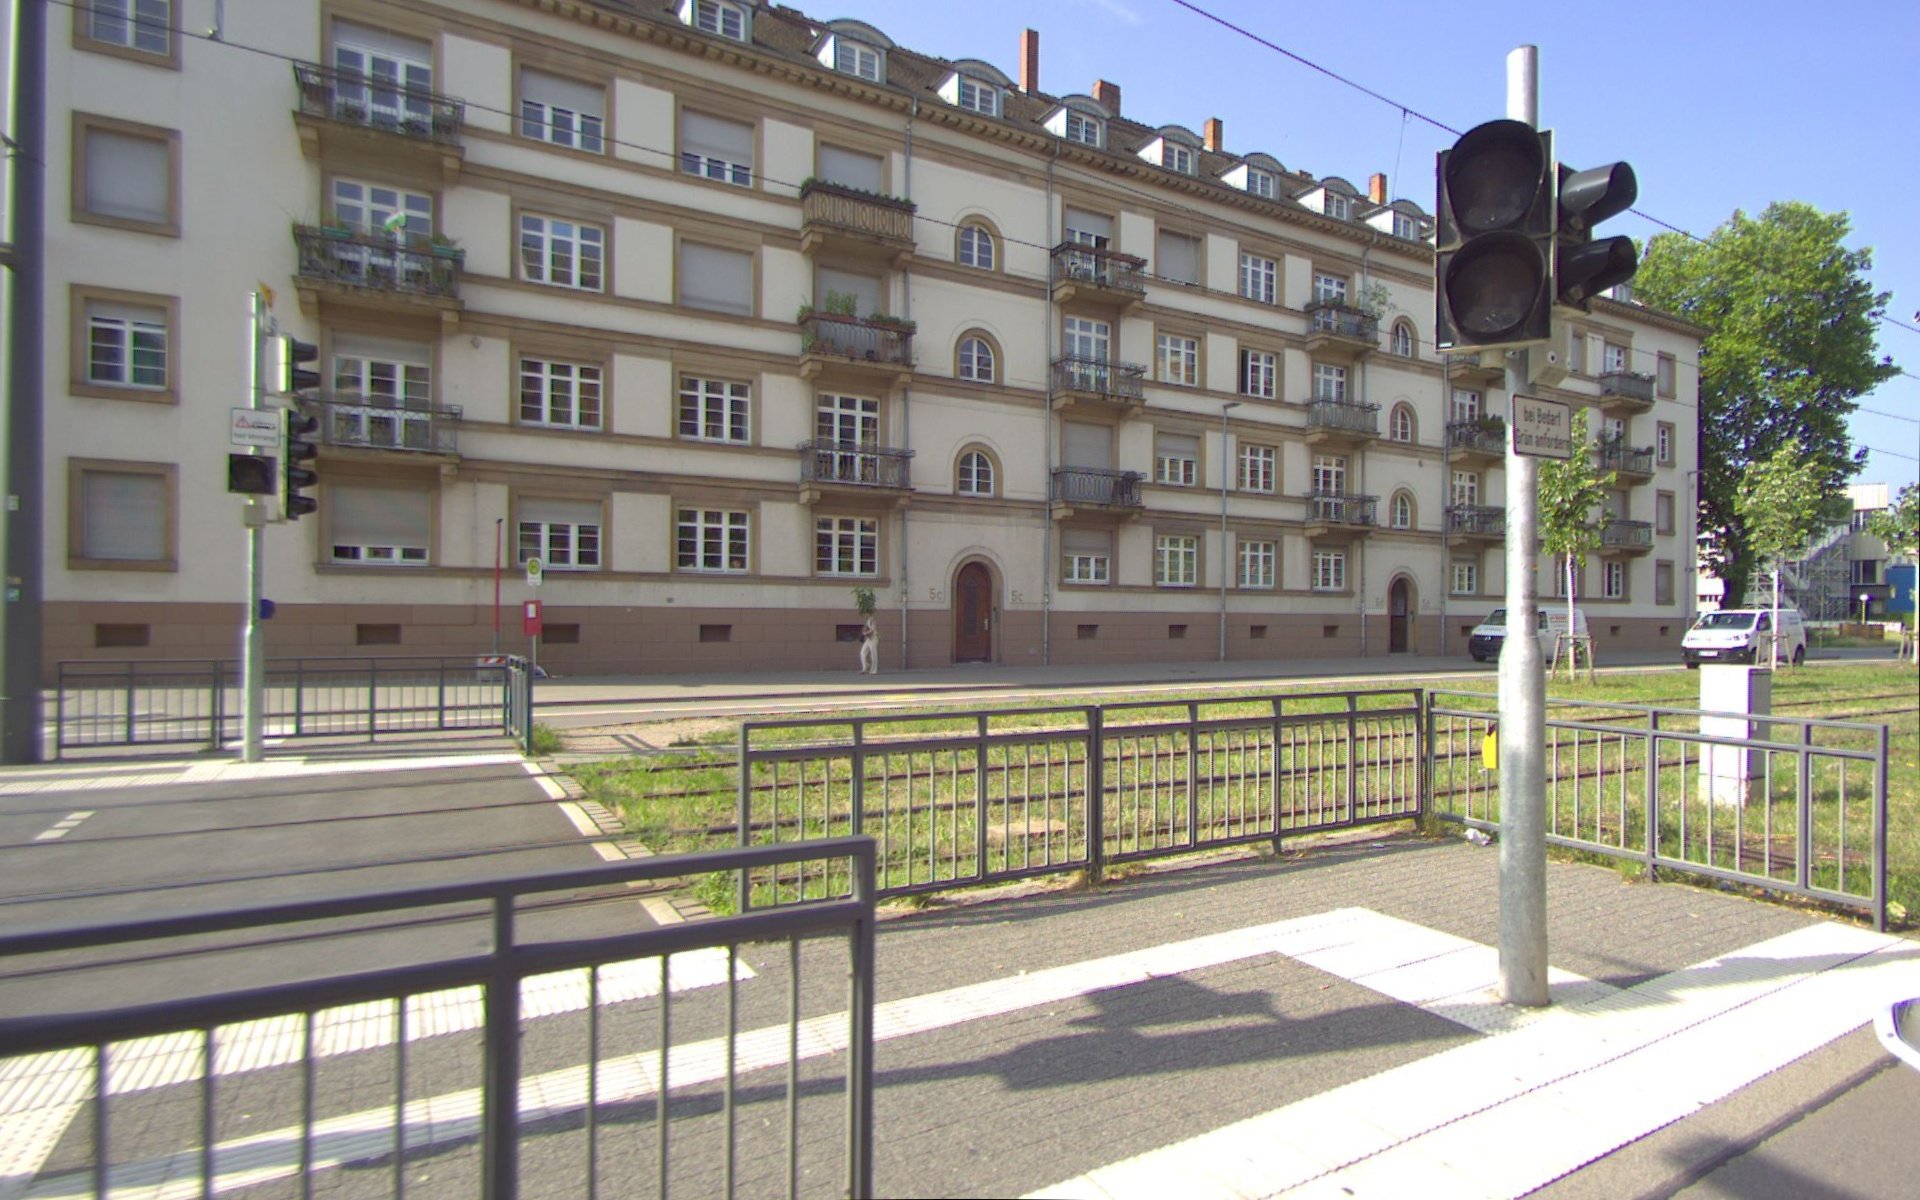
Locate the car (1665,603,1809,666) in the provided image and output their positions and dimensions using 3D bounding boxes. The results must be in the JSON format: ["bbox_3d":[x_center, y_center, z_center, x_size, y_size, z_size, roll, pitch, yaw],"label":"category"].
[{"bbox_3d":[25.445,1.082,32.851,4.985,1.920,1.985,1,-1,-30],"label":"car"}]

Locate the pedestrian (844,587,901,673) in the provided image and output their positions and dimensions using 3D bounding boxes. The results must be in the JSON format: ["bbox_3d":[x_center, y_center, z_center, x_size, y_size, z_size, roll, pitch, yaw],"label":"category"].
[{"bbox_3d":[-2.179,0.739,25.026,1.142,2.096,0.838,1,1,-29],"label":"pedestrian"}]

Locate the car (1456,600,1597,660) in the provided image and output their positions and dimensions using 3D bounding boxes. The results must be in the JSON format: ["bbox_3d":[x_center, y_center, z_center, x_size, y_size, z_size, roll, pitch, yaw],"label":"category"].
[{"bbox_3d":[20.174,1.034,35.724,5.090,1.944,1.984,1,1,-30],"label":"car"}]
